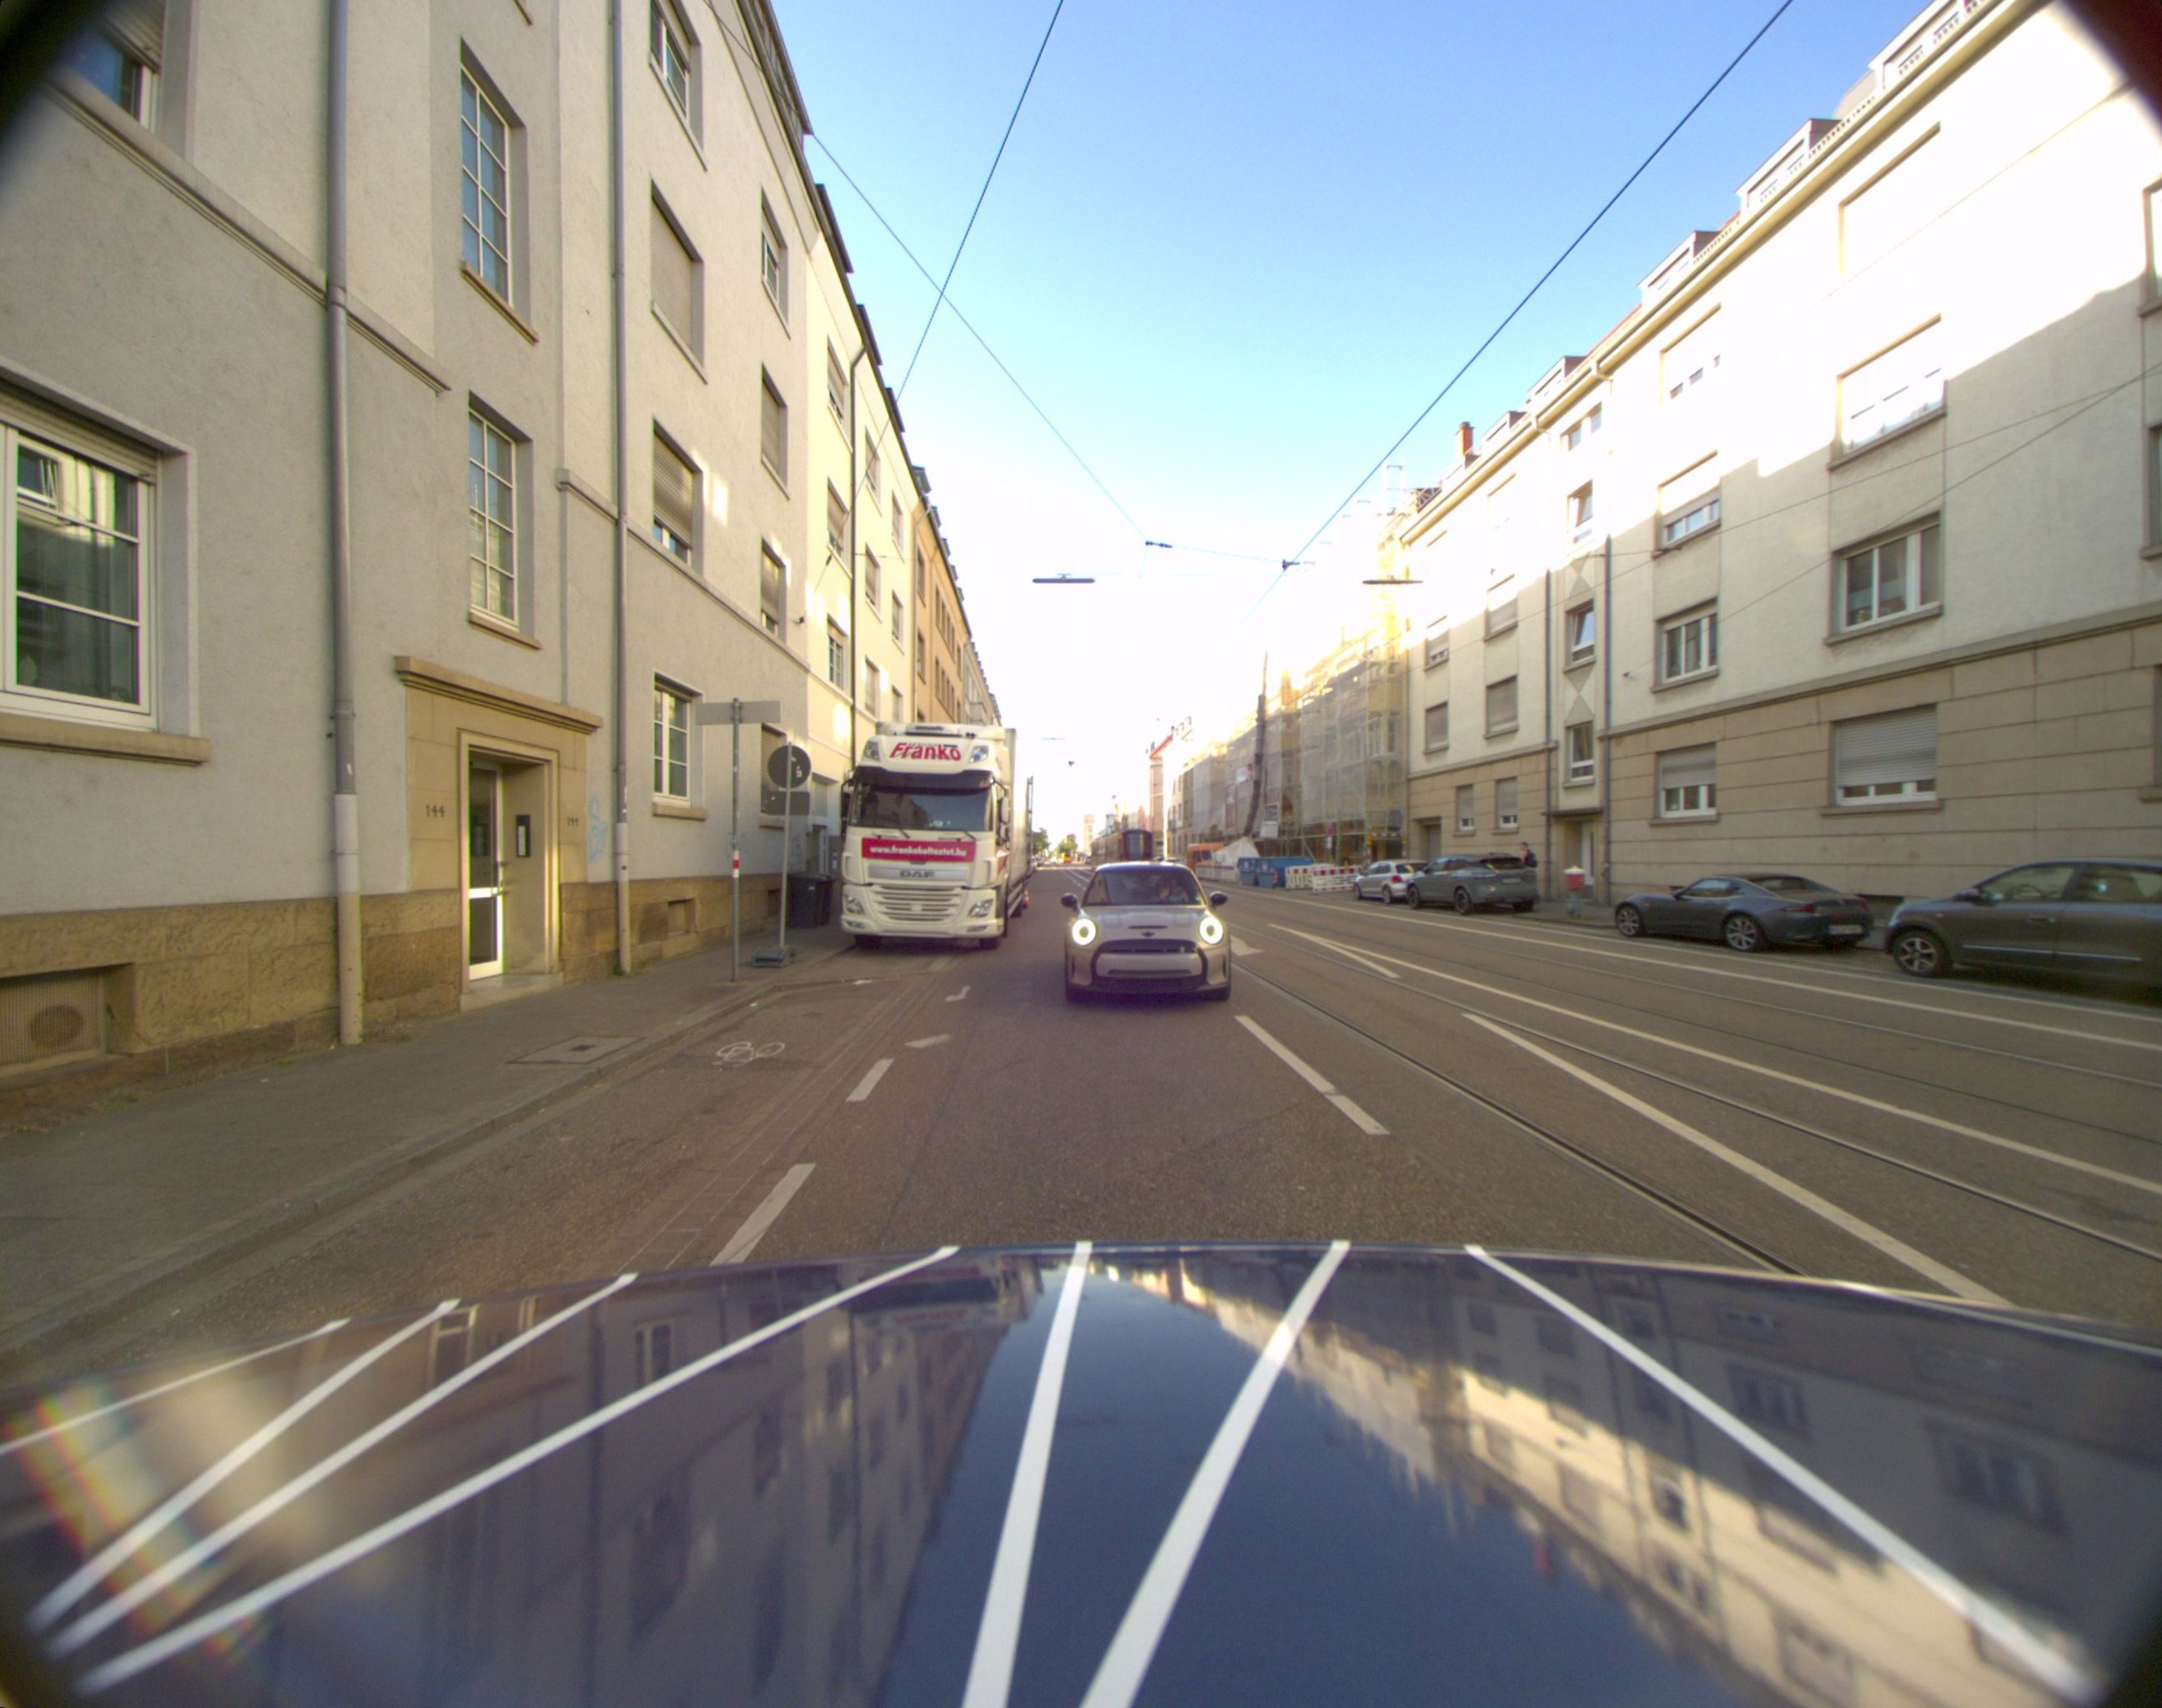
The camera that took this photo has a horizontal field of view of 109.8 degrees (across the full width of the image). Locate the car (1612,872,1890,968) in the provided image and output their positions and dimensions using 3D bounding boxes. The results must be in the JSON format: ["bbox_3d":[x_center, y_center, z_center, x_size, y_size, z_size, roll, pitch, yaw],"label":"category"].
[{"bbox_3d":[11.120,1.013,12.967,1.476,1.212,3.522,-3,1,-4],"label":"car"}]

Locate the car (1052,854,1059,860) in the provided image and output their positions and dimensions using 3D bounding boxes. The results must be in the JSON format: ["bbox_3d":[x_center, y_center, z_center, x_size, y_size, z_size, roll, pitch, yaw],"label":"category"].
[{"bbox_3d":[-7.725,0.945,230.359,1.999,1.871,4.269,-2,1,-4],"label":"car"}]

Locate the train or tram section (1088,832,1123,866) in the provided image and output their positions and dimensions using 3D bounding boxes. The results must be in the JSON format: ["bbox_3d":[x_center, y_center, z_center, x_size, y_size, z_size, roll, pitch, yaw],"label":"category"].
[{"bbox_3d":[2.581,-0.584,85.356,2.867,3.541,13.330,0,1,-3],"label":"train or tram section"}]

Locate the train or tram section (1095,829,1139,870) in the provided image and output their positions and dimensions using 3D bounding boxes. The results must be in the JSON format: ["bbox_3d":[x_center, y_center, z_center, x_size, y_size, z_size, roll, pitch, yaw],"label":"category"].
[{"bbox_3d":[3.205,-0.459,72.020,2.867,3.541,13.330,0,1,-3],"label":"train or tram section"}]

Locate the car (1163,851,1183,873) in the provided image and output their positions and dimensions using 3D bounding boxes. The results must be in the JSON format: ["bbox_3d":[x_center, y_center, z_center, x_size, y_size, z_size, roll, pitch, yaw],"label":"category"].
[{"bbox_3d":[8.579,0.720,71.046,1.658,1.911,3.766,-2,1,5],"label":"car"}]

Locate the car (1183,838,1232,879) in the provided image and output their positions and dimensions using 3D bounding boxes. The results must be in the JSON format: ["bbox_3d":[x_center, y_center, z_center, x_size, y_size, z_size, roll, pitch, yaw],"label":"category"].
[{"bbox_3d":[8.801,0.265,53.361,2.215,2.681,5.871,-2,1,-2],"label":"car"}]

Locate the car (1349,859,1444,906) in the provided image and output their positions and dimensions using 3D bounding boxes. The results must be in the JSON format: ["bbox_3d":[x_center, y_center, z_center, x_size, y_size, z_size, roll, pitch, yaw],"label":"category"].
[{"bbox_3d":[10.600,0.912,25.778,1.565,1.372,3.506,-3,1,-4],"label":"car"}]

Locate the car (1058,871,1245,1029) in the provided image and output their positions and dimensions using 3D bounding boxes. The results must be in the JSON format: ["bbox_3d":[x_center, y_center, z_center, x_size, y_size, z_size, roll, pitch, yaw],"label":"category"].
[{"bbox_3d":[0.645,0.935,8.964,1.727,1.416,3.817,0,-1,0],"label":"car"}]

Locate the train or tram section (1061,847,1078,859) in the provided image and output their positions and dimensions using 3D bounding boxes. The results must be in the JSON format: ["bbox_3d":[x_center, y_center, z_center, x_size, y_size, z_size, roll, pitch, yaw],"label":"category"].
[{"bbox_3d":[-3.667,-0.357,244.423,3.881,3.616,14.401,-2,1,-7],"label":"train or tram section"}]

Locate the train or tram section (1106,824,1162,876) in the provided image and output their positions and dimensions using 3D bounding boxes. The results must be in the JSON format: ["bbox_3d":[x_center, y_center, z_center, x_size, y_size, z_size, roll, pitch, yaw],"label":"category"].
[{"bbox_3d":[3.860,-0.338,58.857,2.867,3.541,13.038,0,1,-3],"label":"train or tram section"}]

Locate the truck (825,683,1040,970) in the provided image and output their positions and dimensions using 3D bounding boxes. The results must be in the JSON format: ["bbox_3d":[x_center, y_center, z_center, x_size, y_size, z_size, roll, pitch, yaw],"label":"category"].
[{"bbox_3d":[-2.500,-0.502,17.089,2.700,4.214,11.773,0,1,-1],"label":"truck"}]

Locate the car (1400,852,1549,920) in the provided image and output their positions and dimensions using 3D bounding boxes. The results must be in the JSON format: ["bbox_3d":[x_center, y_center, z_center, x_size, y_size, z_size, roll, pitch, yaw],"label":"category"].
[{"bbox_3d":[10.795,0.788,21.223,1.752,1.600,4.157,-3,1,-4],"label":"car"}]

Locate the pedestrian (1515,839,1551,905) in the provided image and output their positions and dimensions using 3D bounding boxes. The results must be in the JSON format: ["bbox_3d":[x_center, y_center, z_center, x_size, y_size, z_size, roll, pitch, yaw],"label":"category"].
[{"bbox_3d":[13.056,0.509,21.948,0.519,1.861,0.762,-2,1,-2],"label":"pedestrian"}]

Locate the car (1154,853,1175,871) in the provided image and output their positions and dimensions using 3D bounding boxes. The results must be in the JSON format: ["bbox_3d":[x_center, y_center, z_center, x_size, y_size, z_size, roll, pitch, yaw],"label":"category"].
[{"bbox_3d":[8.447,0.780,76.978,1.570,1.674,3.935,-2,1,-1],"label":"car"}]

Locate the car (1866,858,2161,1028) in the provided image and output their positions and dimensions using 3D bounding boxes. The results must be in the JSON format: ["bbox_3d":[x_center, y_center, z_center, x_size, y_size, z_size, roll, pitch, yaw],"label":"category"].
[{"bbox_3d":[11.358,0.886,8.352,1.644,1.549,3.594,-3,1,-2],"label":"car"}]

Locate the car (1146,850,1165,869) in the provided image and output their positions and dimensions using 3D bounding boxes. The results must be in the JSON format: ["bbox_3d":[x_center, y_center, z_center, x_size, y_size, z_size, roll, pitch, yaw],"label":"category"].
[{"bbox_3d":[8.175,0.593,83.624,1.570,1.945,4.183,-2,1,-1],"label":"car"}]
